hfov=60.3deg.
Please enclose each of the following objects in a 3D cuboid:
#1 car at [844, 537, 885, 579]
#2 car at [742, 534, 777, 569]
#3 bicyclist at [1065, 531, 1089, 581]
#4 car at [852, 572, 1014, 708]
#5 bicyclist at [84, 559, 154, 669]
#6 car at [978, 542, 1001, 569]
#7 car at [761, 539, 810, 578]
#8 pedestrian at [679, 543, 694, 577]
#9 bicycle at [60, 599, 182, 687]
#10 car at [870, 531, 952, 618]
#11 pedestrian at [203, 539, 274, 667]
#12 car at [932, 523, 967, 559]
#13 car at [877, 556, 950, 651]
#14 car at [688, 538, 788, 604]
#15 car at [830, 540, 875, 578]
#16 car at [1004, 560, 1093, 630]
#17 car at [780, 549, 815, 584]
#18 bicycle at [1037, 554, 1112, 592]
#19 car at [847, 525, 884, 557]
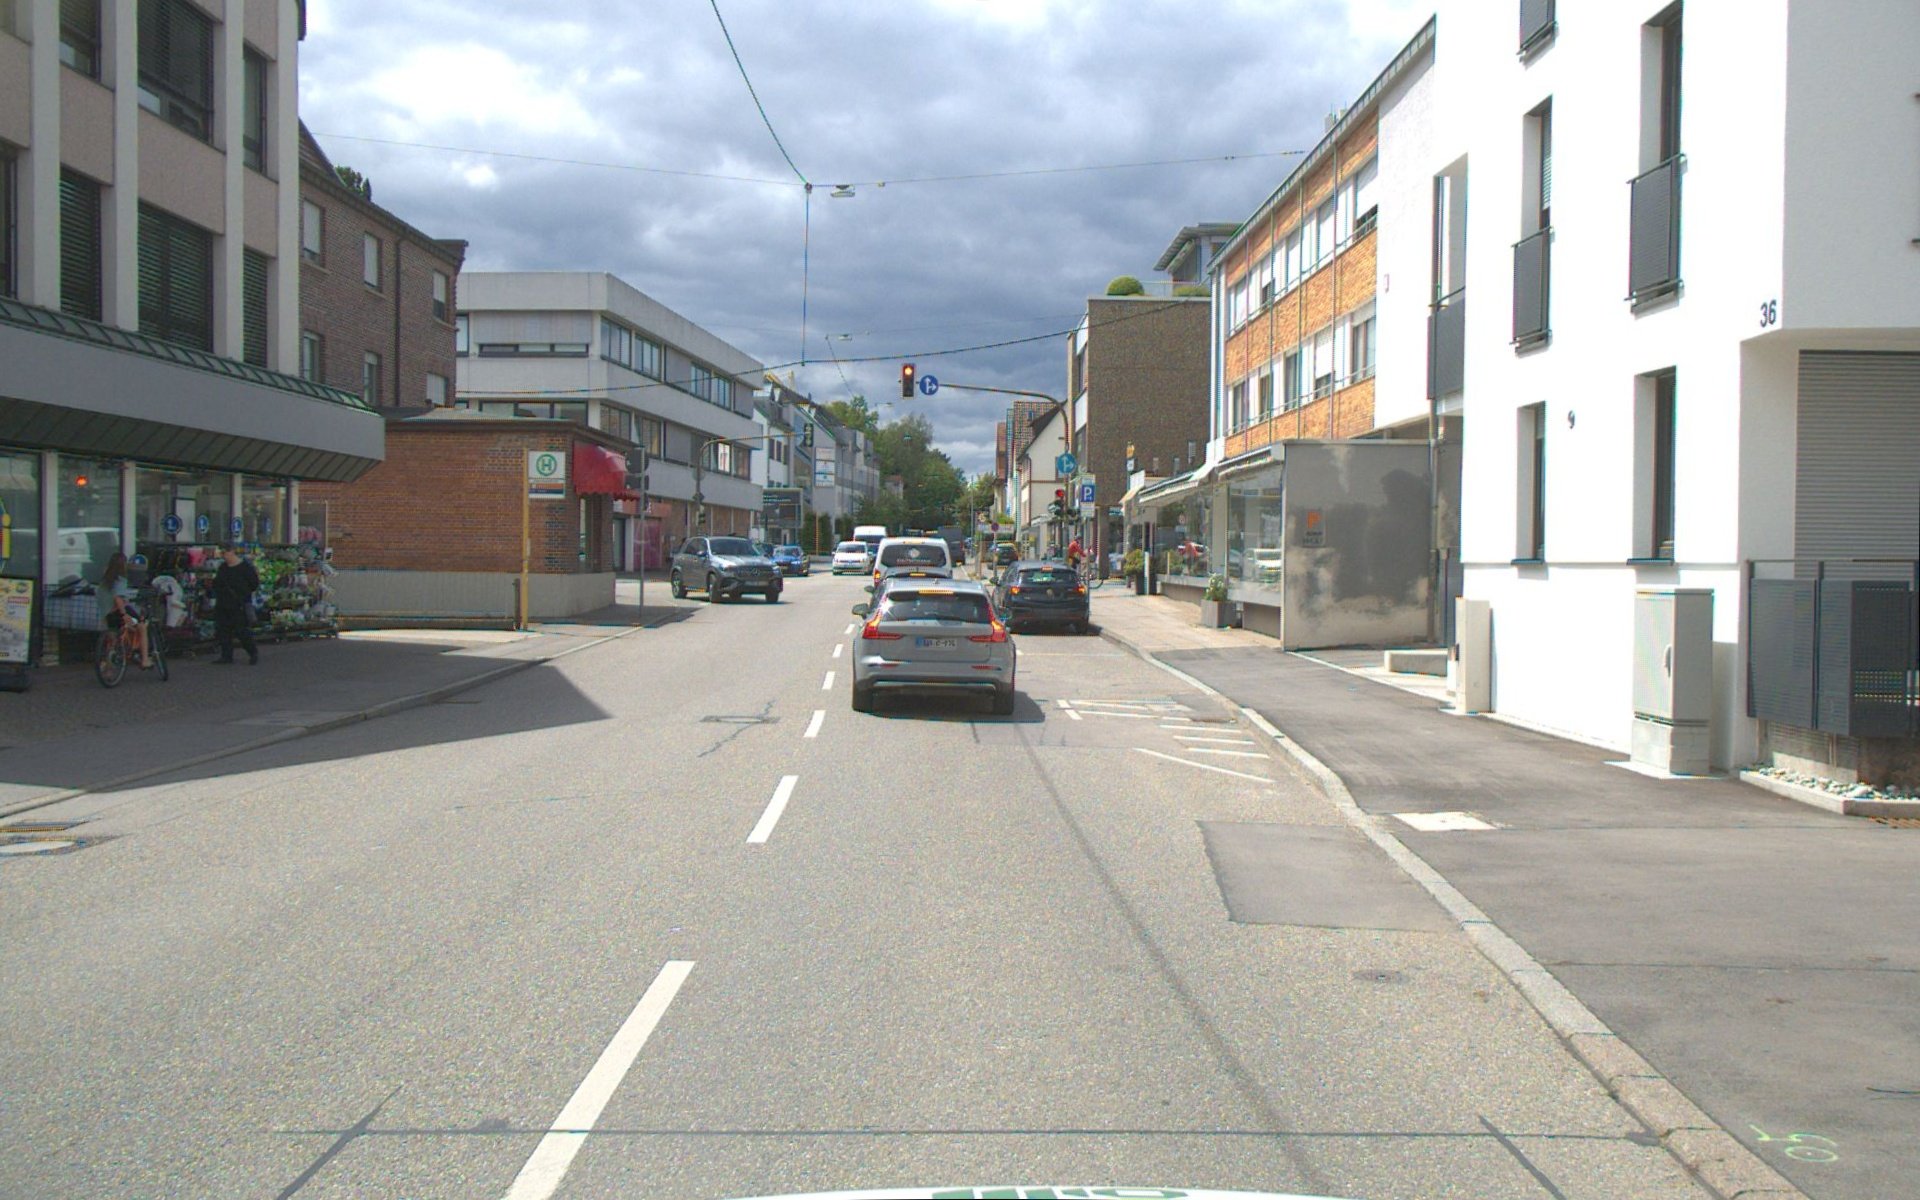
[{"bbox_3d":[-5.110,-2.222,88.768,1.953,2.049,3.999,2,0,-1],"label":"car"},{"bbox_3d":[-10.128,-2.440,83.773,1.356,1.568,3.398,1,-1,-1],"label":"car"},{"bbox_3d":[3.925,-1.484,55.474,0.756,1.634,0.581,2,-1,2],"label":"bicyclist"},{"bbox_3d":[-0.310,0.424,19.564,1.708,1.441,3.999,0,0,-1],"label":"car"},{"bbox_3d":[-9.297,0.153,18.300,0.448,1.199,0.624,0,0,-1],"label":"bicyclist"},{"bbox_3d":[2.360,-3.568,132.915,1.765,2.049,3.999,1,-1,-1],"label":"car"},{"bbox_3d":[-8.235,-1.932,78.281,1.834,1.668,4.000,2,0,0],"label":"car"},{"bbox_3d":[-11.778,-1.715,71.258,0.503,1.461,0.490,0,0,10],"label":"pedestrian"},{"bbox_3d":[-9.318,0.456,18.424,0.457,0.876,1.777,2,2,-1],"label":"bicycle"},{"bbox_3d":[-1.107,-0.561,38.846,1.799,1.894,3.849,1,0,-1],"label":"car"},{"bbox_3d":[-9.414,0.039,21.592,0.614,1.630,0.563,1,0,6],"label":"pedestrian"},{"bbox_3d":[-0.755,-4.215,119.363,2.387,2.359,5.325,2,0,-1],"label":"car"},{"bbox_3d":[-0.826,0.016,29.832,1.248,1.553,3.050,0,3,-1],"label":"car"},{"bbox_3d":[-6.248,-0.778,46.138,1.813,1.756,4.323,0,0,-22],"label":"car"},{"bbox_3d":[-5.285,-2.020,81.792,1.834,1.668,4.001,2,0,2],"label":"car"},{"bbox_3d":[1.830,-0.149,35.236,1.717,1.395,4.001,1,1,0],"label":"car"},{"bbox_3d":[-10.116,-2.063,103.246,1.954,2.049,3.997,2,0,-3],"label":"car"},{"bbox_3d":[3.835,-0.912,55.444,2.471,1.194,0.585,2,0,2],"label":"bicycle"},{"bbox_3d":[-5.478,-3.410,96.153,1.834,1.669,4.000,1,-1,2],"label":"car"}]
